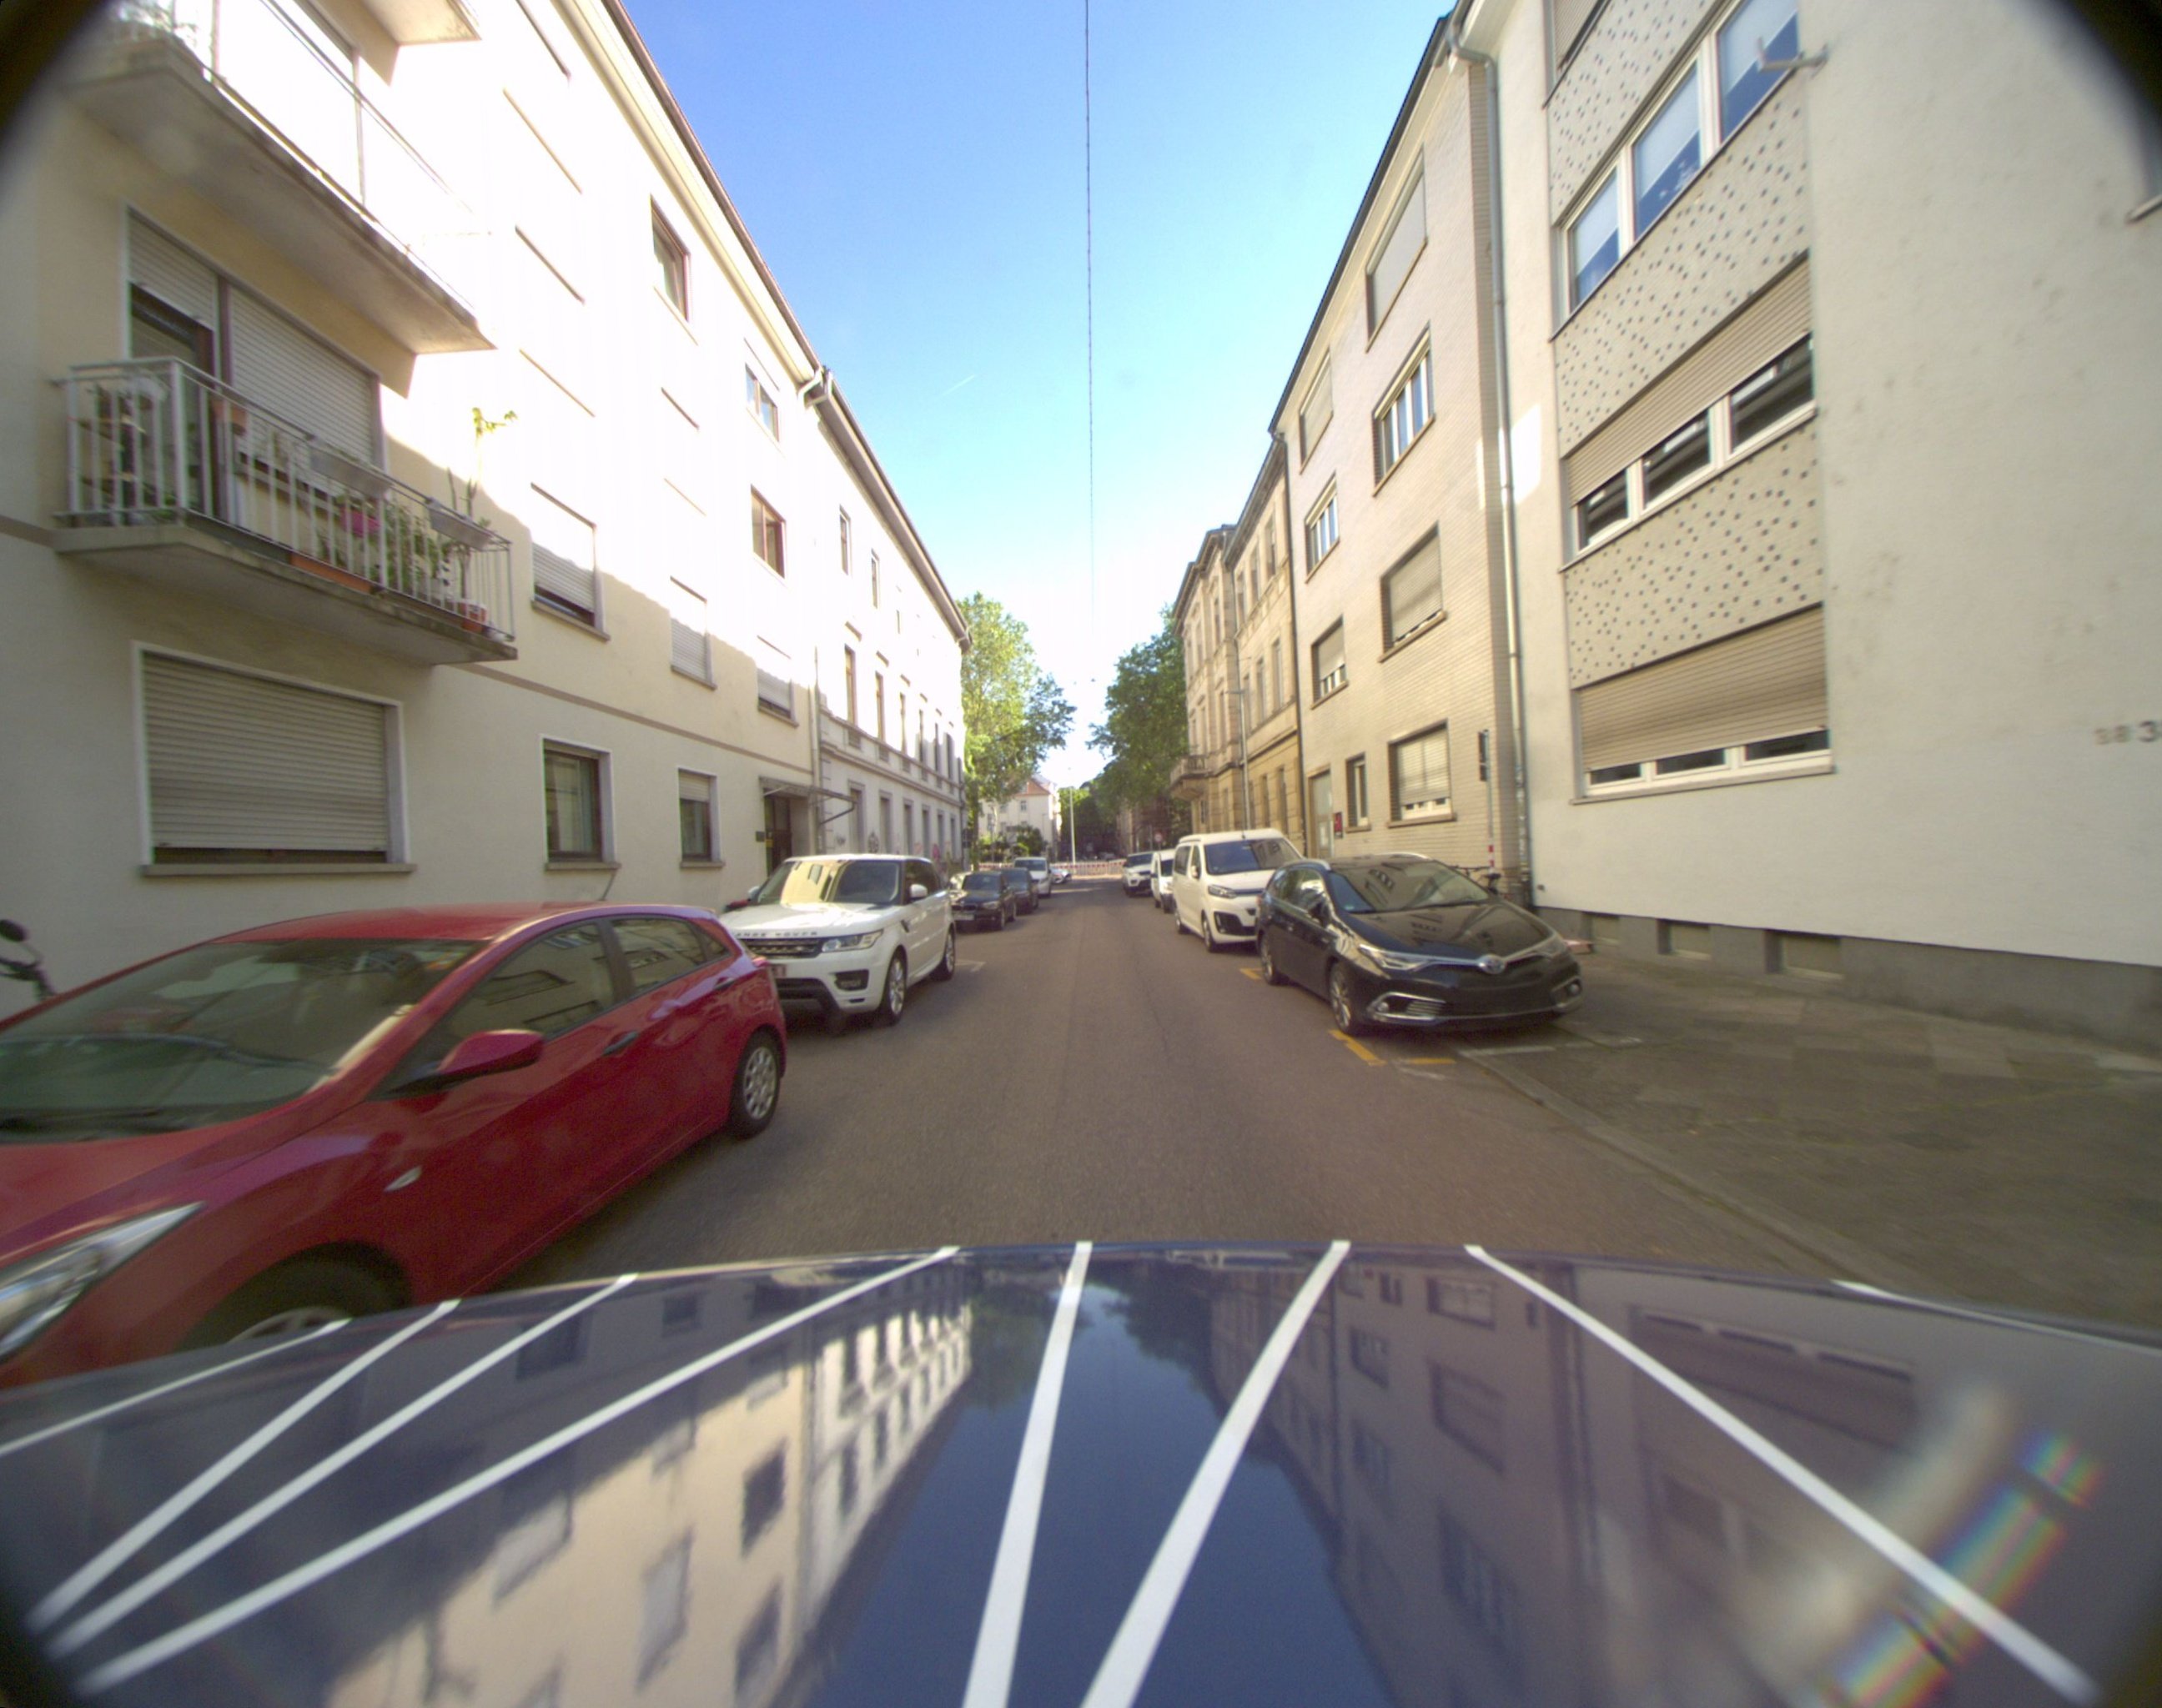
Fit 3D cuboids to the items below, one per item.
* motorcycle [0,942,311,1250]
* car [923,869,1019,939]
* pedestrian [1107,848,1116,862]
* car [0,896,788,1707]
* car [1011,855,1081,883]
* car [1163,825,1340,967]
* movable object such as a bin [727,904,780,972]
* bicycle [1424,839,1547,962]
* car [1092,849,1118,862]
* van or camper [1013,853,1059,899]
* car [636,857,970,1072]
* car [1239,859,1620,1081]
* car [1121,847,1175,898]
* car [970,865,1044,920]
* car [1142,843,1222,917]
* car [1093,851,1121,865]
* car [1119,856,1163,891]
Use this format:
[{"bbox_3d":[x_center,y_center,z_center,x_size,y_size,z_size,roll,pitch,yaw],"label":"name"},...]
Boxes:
[{"bbox_3d":[-5.369,1.213,4.201,0.658,1.271,1.503,-1,0,1],"label":"motorcycle"},{"bbox_3d":[-2.706,1.205,19.552,1.751,1.440,3.870,-5,-1,1],"label":"car"},{"bbox_3d":[3.925,0.122,98.004,0.761,1.651,0.826,-3,0,-27],"label":"pedestrian"},{"bbox_3d":[-2.839,1.075,2.934,1.746,1.559,4.032,-3,0,1],"label":"car"},{"bbox_3d":[-2.370,1.012,50.966,4.491,1.694,2.016,-3,-1,41],"label":"car"},{"bbox_3d":[2.784,0.648,13.655,1.899,1.946,4.781,-5,0,-1],"label":"car"},{"bbox_3d":[-5.441,1.392,12.647,0.578,1.064,0.553,-2,0,4],"label":"movable object such as a bin"},{"bbox_3d":[5.446,0.580,10.361,0.558,1.500,1.800,-4,0,-2],"label":"bicycle"},{"bbox_3d":[3.563,0.197,113.315,3.800,1.726,1.623,-3,0,0],"label":"car"},{"bbox_3d":[-2.118,1.024,36.816,1.899,2.001,5.031,-3,0,-1],"label":"van or camper"},{"bbox_3d":[-2.775,0.982,9.056,2.010,1.773,4.939,-3,-1,1],"label":"car"},{"bbox_3d":[2.916,0.838,7.522,1.711,1.442,4.301,-3,0,0],"label":"car"},{"bbox_3d":[2.873,0.773,33.519,2.027,2.002,4.543,-3,0,1],"label":"car"},{"bbox_3d":[-2.348,1.216,25.406,1.819,1.510,4.728,-5,-1,1],"label":"car"},{"bbox_3d":[2.934,0.743,22.945,1.748,1.865,4.090,-6,-1,1],"label":"car"},{"bbox_3d":[3.533,0.512,103.466,3.800,1.726,1.623,-3,0,0],"label":"car"},{"bbox_3d":[3.107,0.973,40.118,1.872,1.552,3.941,-5,1,-1],"label":"car"}]
